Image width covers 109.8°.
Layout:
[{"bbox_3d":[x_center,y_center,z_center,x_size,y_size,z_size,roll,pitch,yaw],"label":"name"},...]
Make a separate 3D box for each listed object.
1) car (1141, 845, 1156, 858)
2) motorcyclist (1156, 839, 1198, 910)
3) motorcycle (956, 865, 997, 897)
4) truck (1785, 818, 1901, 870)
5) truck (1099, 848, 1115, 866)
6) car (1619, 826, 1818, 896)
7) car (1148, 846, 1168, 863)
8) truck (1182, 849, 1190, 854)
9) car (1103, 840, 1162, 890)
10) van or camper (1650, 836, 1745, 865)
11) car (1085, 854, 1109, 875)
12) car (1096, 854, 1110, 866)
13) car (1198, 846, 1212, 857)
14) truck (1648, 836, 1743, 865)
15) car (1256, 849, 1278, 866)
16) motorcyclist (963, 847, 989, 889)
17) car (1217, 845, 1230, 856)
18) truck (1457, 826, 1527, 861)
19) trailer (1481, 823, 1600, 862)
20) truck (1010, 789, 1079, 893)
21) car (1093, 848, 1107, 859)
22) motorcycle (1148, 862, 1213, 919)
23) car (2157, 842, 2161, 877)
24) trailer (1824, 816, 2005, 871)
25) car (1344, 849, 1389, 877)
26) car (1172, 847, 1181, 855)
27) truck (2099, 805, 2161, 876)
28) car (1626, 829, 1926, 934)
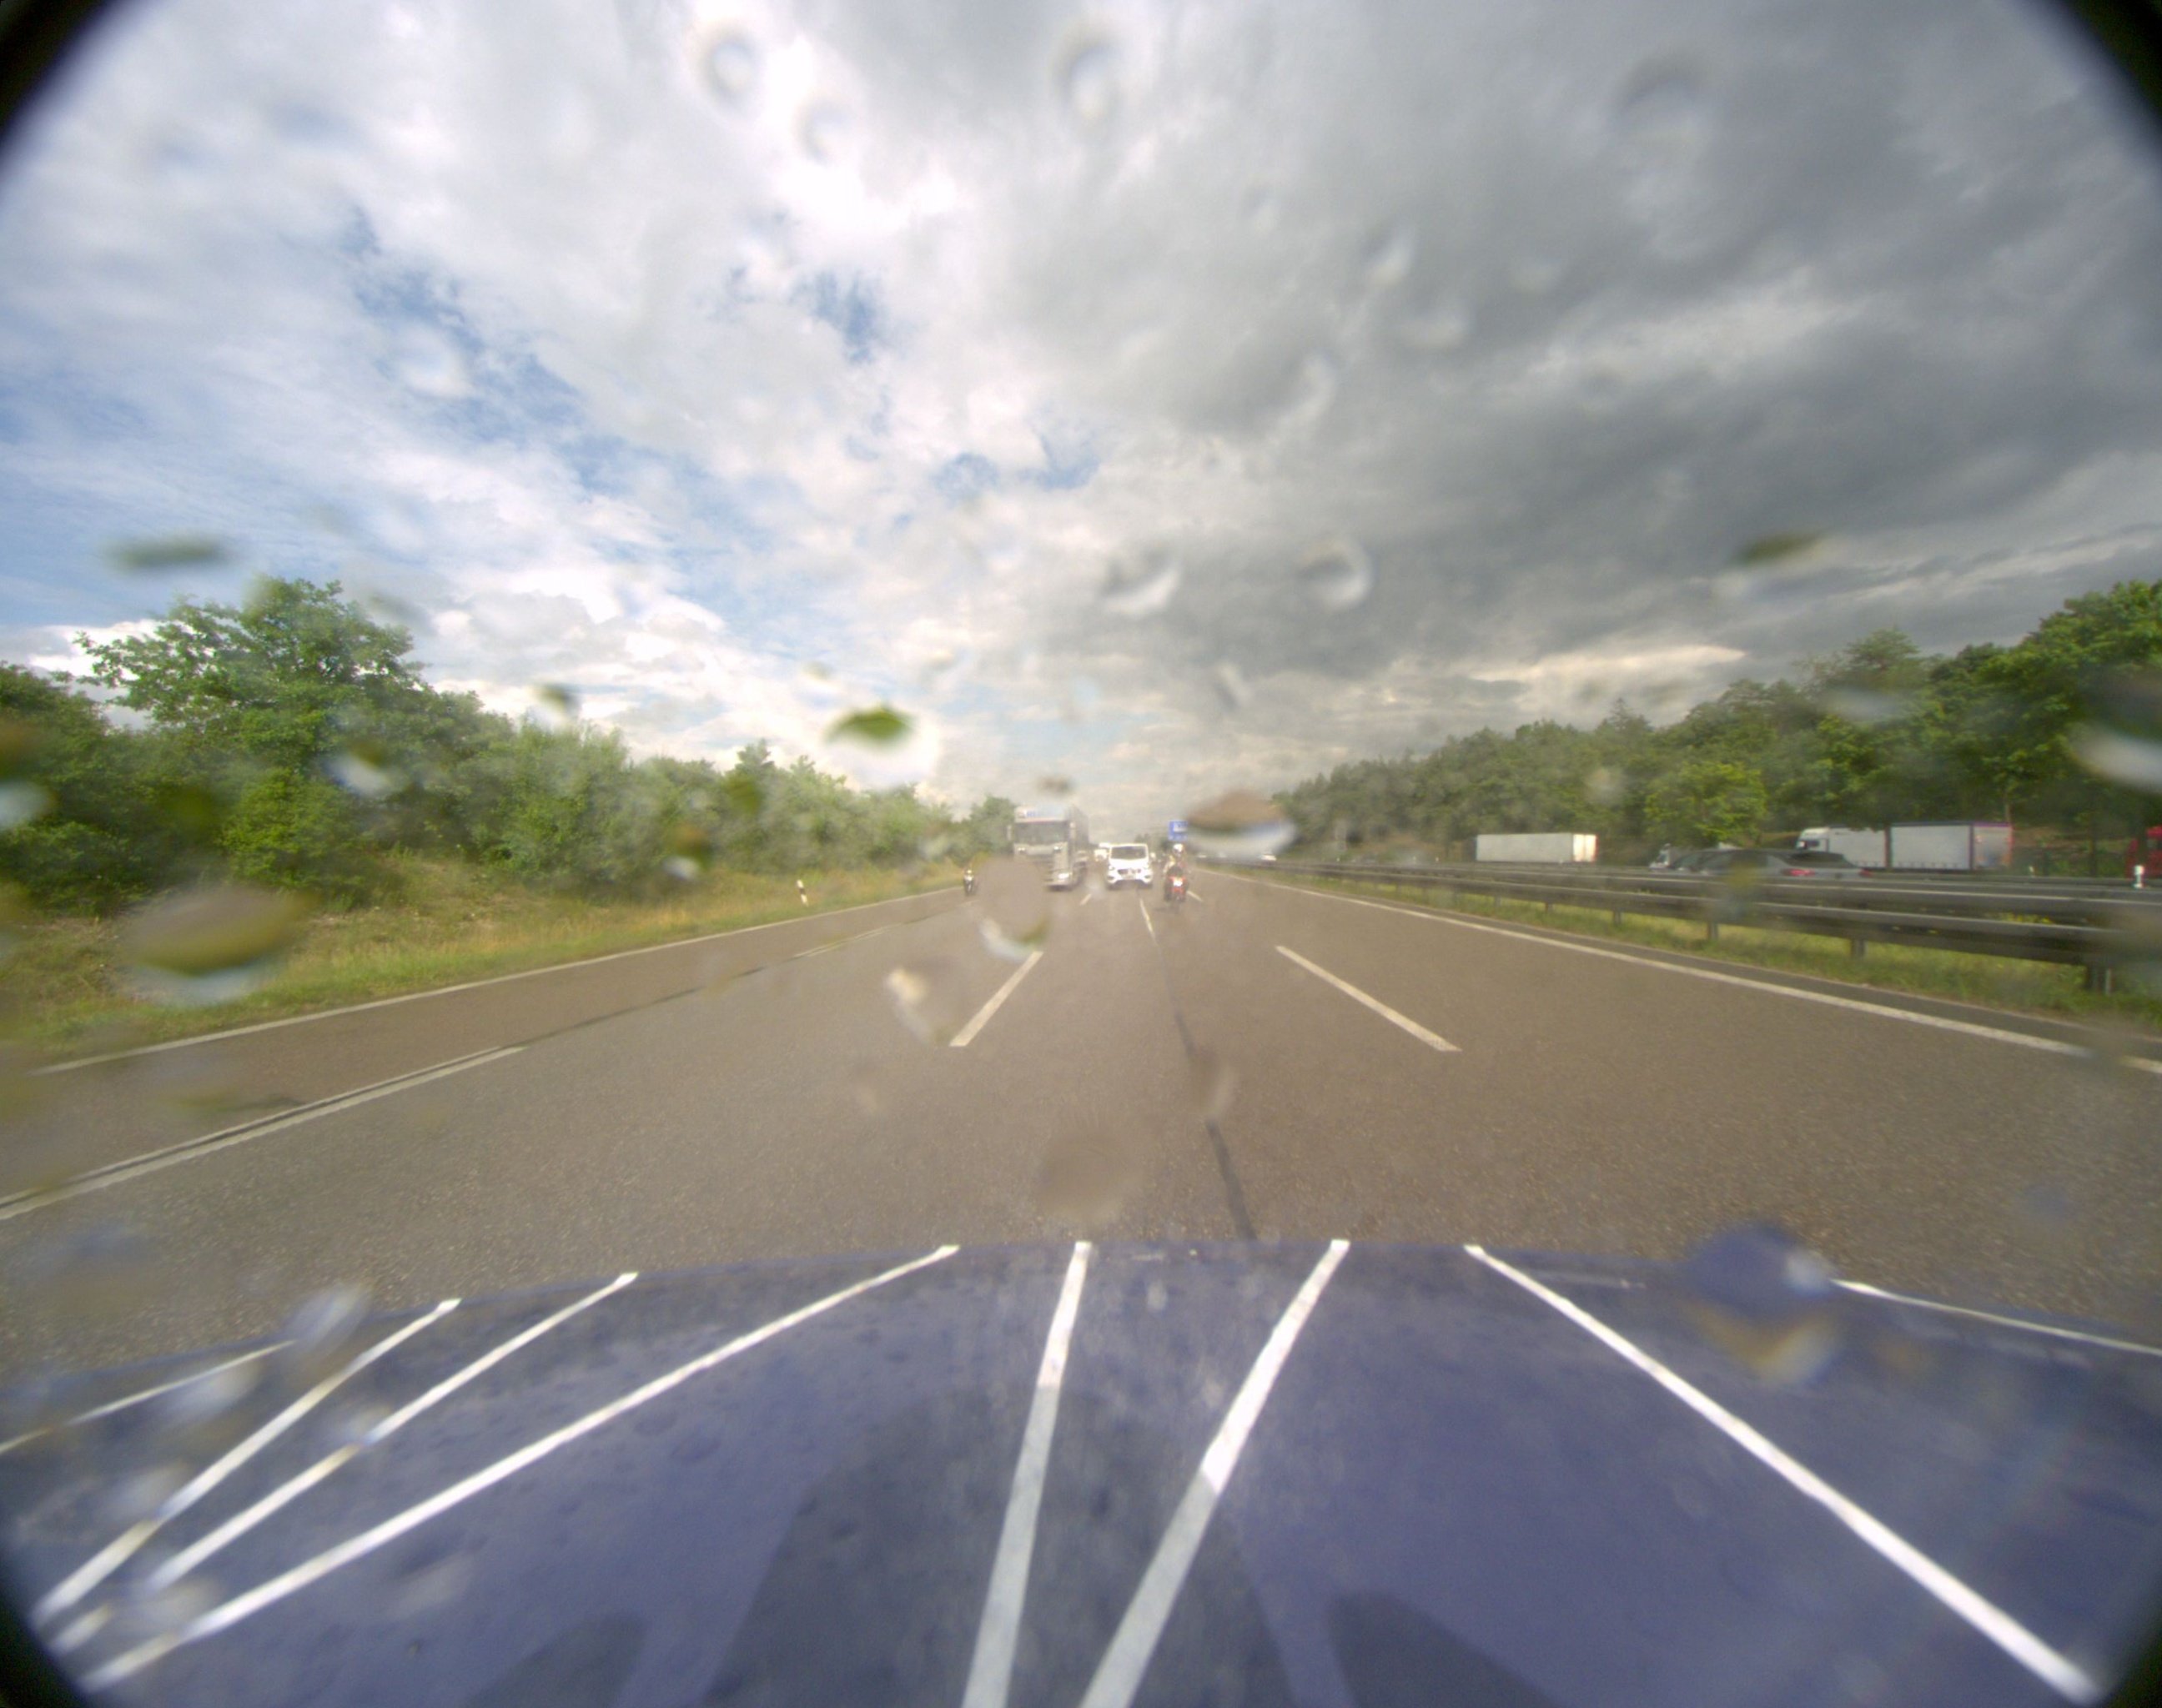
[{"bbox_3d":[11.428,-0.413,129.591,2.349,2.033,5.143,-2,1,3],"label":"car"},{"bbox_3d":[2.410,0.495,19.150,0.883,1.696,1.001,-2,1,1],"label":"motorcyclist"},{"bbox_3d":[-4.351,1.105,31.897,1.187,1.142,3.194,-2,1,0],"label":"motorcycle"},{"bbox_3d":[52.373,-0.682,52.385,2.662,3.249,5.083,-2,1,-7],"label":"truck"},{"bbox_3d":[5.960,0.624,170.764,3.217,3.607,10.155,-2,1,3],"label":"truck"},{"bbox_3d":[19.440,0.165,23.540,2.305,1.880,4.779,-2,1,3],"label":"car"},{"bbox_3d":[10.127,0.043,99.811,2.349,2.033,5.143,-2,1,3],"label":"car"},{"bbox_3d":[28.663,-0.684,207.301,1.892,1.187,4.000,-2,1,3],"label":"truck"},{"bbox_3d":[2.293,0.418,34.221,2.349,2.033,5.143,-2,1,3],"label":"car"},{"bbox_3d":[51.176,-0.280,63.290,2.125,2.252,6.317,-2,1,-10],"label":"van or camper"},{"bbox_3d":[1.751,1.097,80.462,2.349,2.033,5.143,-2,1,3],"label":"car"},{"bbox_3d":[4.074,1.056,139.227,2.349,2.033,5.143,-2,1,3],"label":"car"},{"bbox_3d":[22.179,-0.536,136.219,1.834,1.880,4.779,-2,1,3],"label":"car"},{"bbox_3d":[51.140,-0.280,63.423,2.125,2.252,6.313,-2,1,-10],"label":"truck"},{"bbox_3d":[23.364,0.430,95.515,1.834,1.880,4.779,-2,1,3],"label":"car"},{"bbox_3d":[-4.377,0.570,31.693,0.883,1.696,1.001,-2,1,1],"label":"motorcyclist"},{"bbox_3d":[29.627,-0.756,158.092,1.834,2.033,4.779,-2,1,3],"label":"car"},{"bbox_3d":[46.520,-1.191,86.224,3.218,3.683,6.909,-3,1,-11],"label":"truck"},{"bbox_3d":[47.761,-1.137,79.759,3.215,3.717,12.557,-1,0,-10],"label":"trailer"},{"bbox_3d":[-1.521,-0.581,35.239,2.650,4.250,6.884,-2,1,0],"label":"truck"},{"bbox_3d":[3.684,-0.113,146.044,2.349,2.033,5.143,-2,1,3],"label":"car"},{"bbox_3d":[2.447,0.860,19.201,1.187,1.219,3.194,-2,1,0],"label":"motorcycle"},{"bbox_3d":[62.637,0.323,40.385,1.999,2.002,6.129,-2,1,-5],"label":"car"},{"bbox_3d":[52.883,-0.664,48.610,2.587,3.214,7.736,-1,1,-6],"label":"trailer"},{"bbox_3d":[21.331,0.657,56.961,1.834,1.880,4.779,-2,1,3],"label":"car"},{"bbox_3d":[24.910,-0.827,197.965,1.834,2.033,4.779,-2,1,3],"label":"car"},{"bbox_3d":[54.147,-0.701,36.342,2.868,3.437,5.894,-2,1,-4],"label":"truck"},{"bbox_3d":[14.680,0.489,16.576,2.305,1.880,4.779,-2,1,3],"label":"car"}]
